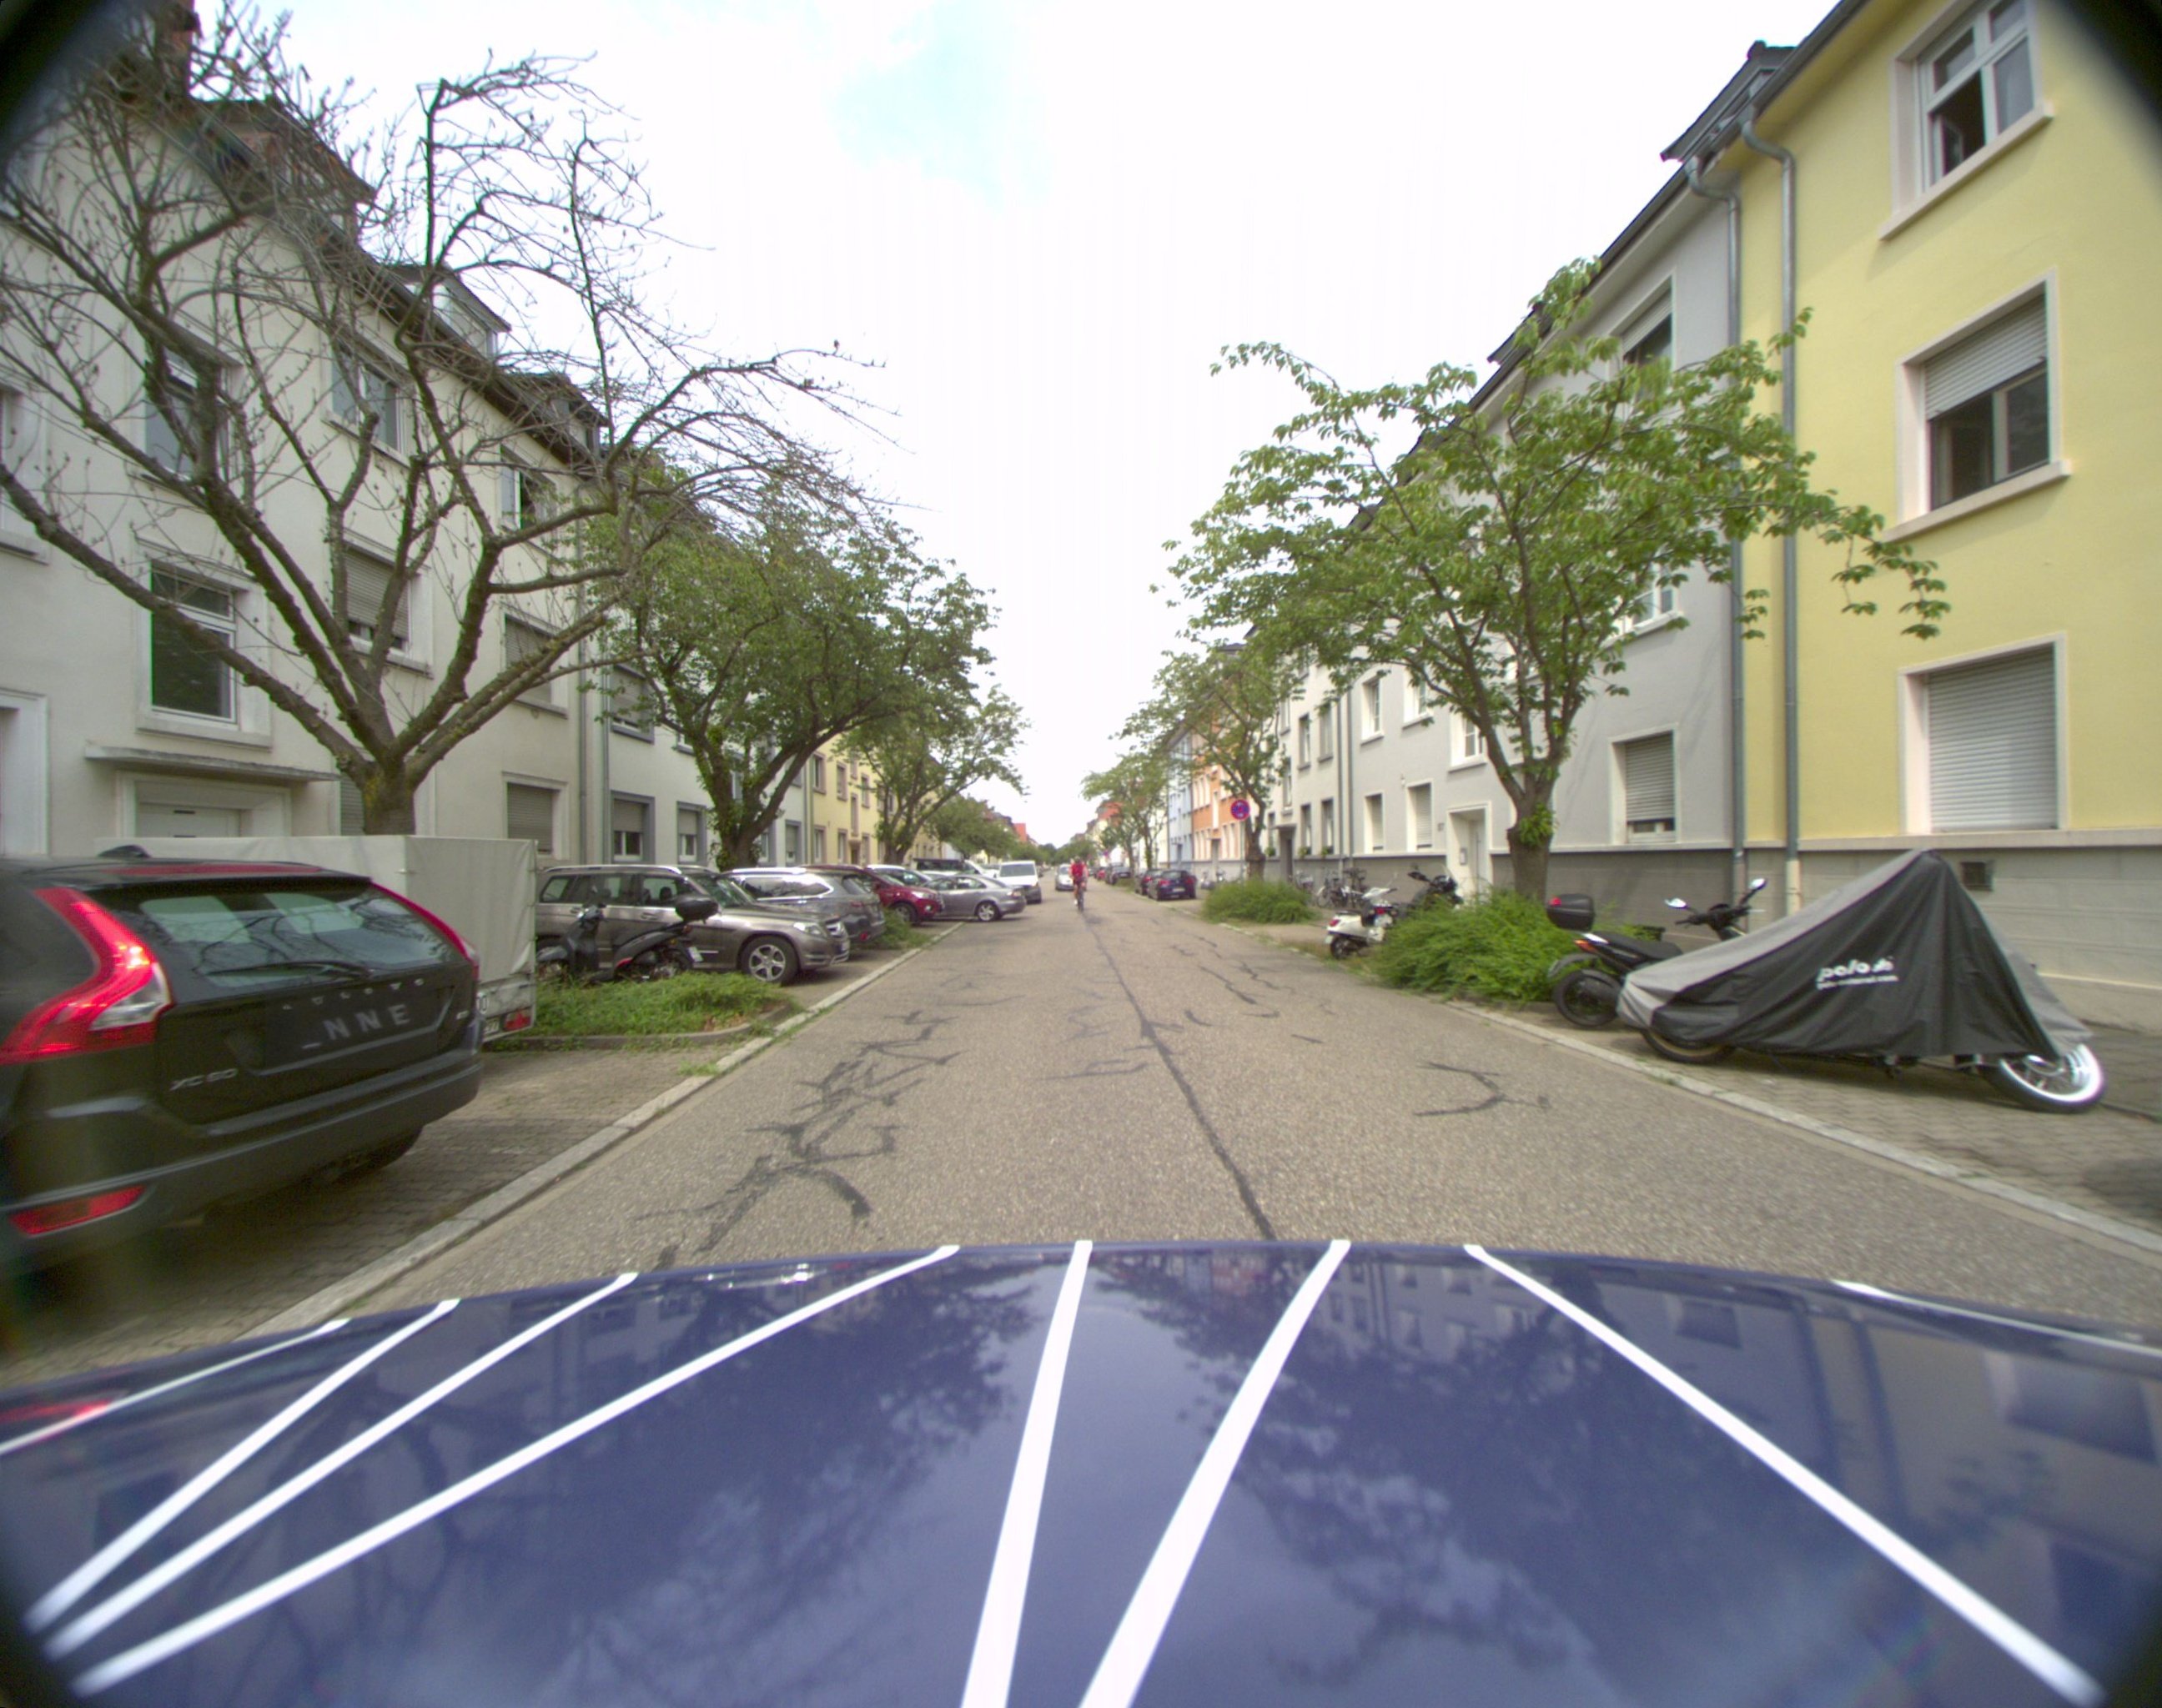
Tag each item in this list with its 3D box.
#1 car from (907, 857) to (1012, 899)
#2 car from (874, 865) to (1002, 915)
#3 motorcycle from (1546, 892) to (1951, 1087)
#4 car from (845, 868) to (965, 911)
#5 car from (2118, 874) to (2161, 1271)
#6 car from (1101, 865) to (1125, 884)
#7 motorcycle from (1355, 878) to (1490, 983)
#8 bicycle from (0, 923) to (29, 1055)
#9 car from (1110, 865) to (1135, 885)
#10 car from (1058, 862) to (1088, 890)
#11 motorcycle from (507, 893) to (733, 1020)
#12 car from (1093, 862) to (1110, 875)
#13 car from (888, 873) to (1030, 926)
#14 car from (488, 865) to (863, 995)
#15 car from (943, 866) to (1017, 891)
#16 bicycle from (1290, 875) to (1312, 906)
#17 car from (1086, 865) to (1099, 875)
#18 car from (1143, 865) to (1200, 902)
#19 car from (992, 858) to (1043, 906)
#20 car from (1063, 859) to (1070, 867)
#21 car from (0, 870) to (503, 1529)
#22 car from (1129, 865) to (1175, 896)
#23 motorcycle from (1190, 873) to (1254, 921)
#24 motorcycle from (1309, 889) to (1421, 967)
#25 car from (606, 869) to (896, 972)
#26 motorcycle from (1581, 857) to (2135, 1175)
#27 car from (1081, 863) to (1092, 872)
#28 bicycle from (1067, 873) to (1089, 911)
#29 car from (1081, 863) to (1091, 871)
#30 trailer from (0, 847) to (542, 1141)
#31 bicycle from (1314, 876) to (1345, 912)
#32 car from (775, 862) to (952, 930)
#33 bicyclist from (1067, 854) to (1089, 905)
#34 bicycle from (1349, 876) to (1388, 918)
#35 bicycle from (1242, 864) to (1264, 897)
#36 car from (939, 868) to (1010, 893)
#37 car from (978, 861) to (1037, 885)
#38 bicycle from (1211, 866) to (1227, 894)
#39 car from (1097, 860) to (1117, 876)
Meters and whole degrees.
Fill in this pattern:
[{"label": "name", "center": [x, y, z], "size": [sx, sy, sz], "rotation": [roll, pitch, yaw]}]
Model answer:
[{"label": "car", "center": [-6.249, 1.236, 39.649], "size": [5.245, 2.011, 2.072], "rotation": [1, 0, -6]}, {"label": "car", "center": [-4.722, 1.178, 25.501], "size": [3.998, 1.527, 1.638], "rotation": [1, 0, -2]}, {"label": "motorcycle", "center": [5.372, 1.027, 6.374], "size": [2.450, 1.303, 0.645], "rotation": [1, 0, 28]}, {"label": "car", "center": [-6.389, 1.277, 27.847], "size": [3.998, 1.412, 1.638], "rotation": [1, 0, -2]}, {"label": "car", "center": [5.154, 0.841, 0.987], "size": [1.762, 1.547, 4.255], "rotation": [0, 0, -2]}, {"label": "car", "center": [2.803, 1.767, 67.492], "size": [1.697, 1.573, 4.248], "rotation": [-2, 0, -3]}, {"label": "motorcycle", "center": [5.222, 1.117, 11.560], "size": [2.242, 1.473, 0.595], "rotation": [1, 0, -28]}, {"label": "bicycle", "center": [-9.383, 1.129, 5.523], "size": [0.688, 1.090, 2.005], "rotation": [1, 0, 0]}, {"label": "car", "center": [3.330, 1.651, 61.130], "size": [1.706, 1.533, 4.249], "rotation": [1, 0, -1]}, {"label": "car", "center": [-0.546, 1.339, 47.652], "size": [1.788, 1.595, 4.835], "rotation": [-1, 0, -2]}, {"label": "motorcycle", "center": [-5.498, 1.198, 9.163], "size": [2.232, 1.401, 0.715], "rotation": [-1, 0, -4]}, {"label": "car", "center": [2.375, 1.675, 89.519], "size": [1.712, 1.477, 3.442], "rotation": [1, 0, -4]}, {"label": "car", "center": [-3.602, 1.348, 22.986], "size": [3.998, 1.446, 1.766], "rotation": [1, 0, -2]}, {"label": "car", "center": [-5.439, 1.000, 10.697], "size": [4.227, 1.588, 1.903], "rotation": [1, 0, -4]}, {"label": "car", "center": [-6.462, 1.572, 48.855], "size": [4.560, 1.501, 1.850], "rotation": [1, 0, -4]}, {"label": "bicycle", "center": [7.277, 1.197, 25.168], "size": [0.310, 0.961, 1.434], "rotation": [1, 0, 0]}, {"label": "car", "center": [1.632, 2.309, 109.325], "size": [1.712, 1.438, 3.442], "rotation": [1, 0, -4]}, {"label": "car", "center": [4.166, 1.333, 35.489], "size": [1.841, 1.475, 4.119], "rotation": [-3, 0, -4]}, {"label": "car", "center": [-2.773, 1.161, 33.819], "size": [1.999, 1.903, 4.702], "rotation": [-2, 0, -4]}, {"label": "car", "center": [-3.619, 2.271, 190.681], "size": [1.757, 2.097, 3.620], "rotation": [1, 0, -2]}, {"label": "car", "center": [-5.045, 0.949, 2.884], "size": [4.225, 1.725, 1.904], "rotation": [1, 0, 0]}, {"label": "car", "center": [3.823, 1.422, 41.656], "size": [1.841, 1.475, 4.092], "rotation": [-2, 0, -4]}, {"label": "motorcycle", "center": [4.361, 1.286, 23.393], "size": [2.022, 1.399, 0.790], "rotation": [1, 0, -39]}, {"label": "motorcycle", "center": [4.735, 1.193, 12.624], "size": [1.915, 1.185, 0.595], "rotation": [1, 0, -28]}, {"label": "car", "center": [-5.550, 1.109, 13.261], "size": [4.227, 1.588, 1.903], "rotation": [1, 0, -4]}, {"label": "motorcycle", "center": [4.989, 0.872, 5.199], "size": [0.941, 1.666, 2.467], "rotation": [-1, 0, -45]}, {"label": "car", "center": [0.979, 2.435, 138.348], "size": [1.711, 1.495, 3.443], "rotation": [1, 0, -2]}, {"label": "bicycle", "center": [-0.112, 1.317, 26.760], "size": [0.693, 1.220, 1.936], "rotation": [-2, 0, -2]}, {"label": "car", "center": [0.940, 2.489, 146.190], "size": [1.626, 1.495, 3.443], "rotation": [1, 0, -2]}, {"label": "trailer", "center": [-5.949, 0.895, 5.591], "size": [2.968, 1.820, 1.401], "rotation": [1, 0, 2]}, {"label": "bicycle", "center": [7.229, 1.149, 22.161], "size": [0.421, 1.000, 1.434], "rotation": [1, 0, -1]}, {"label": "car", "center": [-5.796, 1.103, 20.667], "size": [4.225, 1.668, 1.904], "rotation": [1, 0, 0]}, {"label": "bicyclist", "center": [-0.112, 0.885, 26.704], "size": [0.694, 1.759, 0.986], "rotation": [-2, 0, -2]}, {"label": "bicycle", "center": [7.301, 1.076, 19.360], "size": [0.421, 1.000, 1.434], "rotation": [1, 0, -1]}, {"label": "bicycle", "center": [7.033, 1.065, 31.112], "size": [0.430, 1.326, 1.811], "rotation": [1, 0, 0]}, {"label": "car", "center": [-6.473, 1.603, 46.488], "size": [4.104, 1.406, 1.850], "rotation": [1, 0, -4]}, {"label": "car", "center": [-6.053, 1.562, 63.187], "size": [4.751, 1.898, 1.850], "rotation": [1, 0, -2]}, {"label": "bicycle", "center": [6.830, 1.250, 37.622], "size": [0.430, 1.326, 1.811], "rotation": [1, 0, 0]}, {"label": "car", "center": [2.723, 1.431, 79.823], "size": [1.712, 1.591, 4.115], "rotation": [1, 0, -4]}]
